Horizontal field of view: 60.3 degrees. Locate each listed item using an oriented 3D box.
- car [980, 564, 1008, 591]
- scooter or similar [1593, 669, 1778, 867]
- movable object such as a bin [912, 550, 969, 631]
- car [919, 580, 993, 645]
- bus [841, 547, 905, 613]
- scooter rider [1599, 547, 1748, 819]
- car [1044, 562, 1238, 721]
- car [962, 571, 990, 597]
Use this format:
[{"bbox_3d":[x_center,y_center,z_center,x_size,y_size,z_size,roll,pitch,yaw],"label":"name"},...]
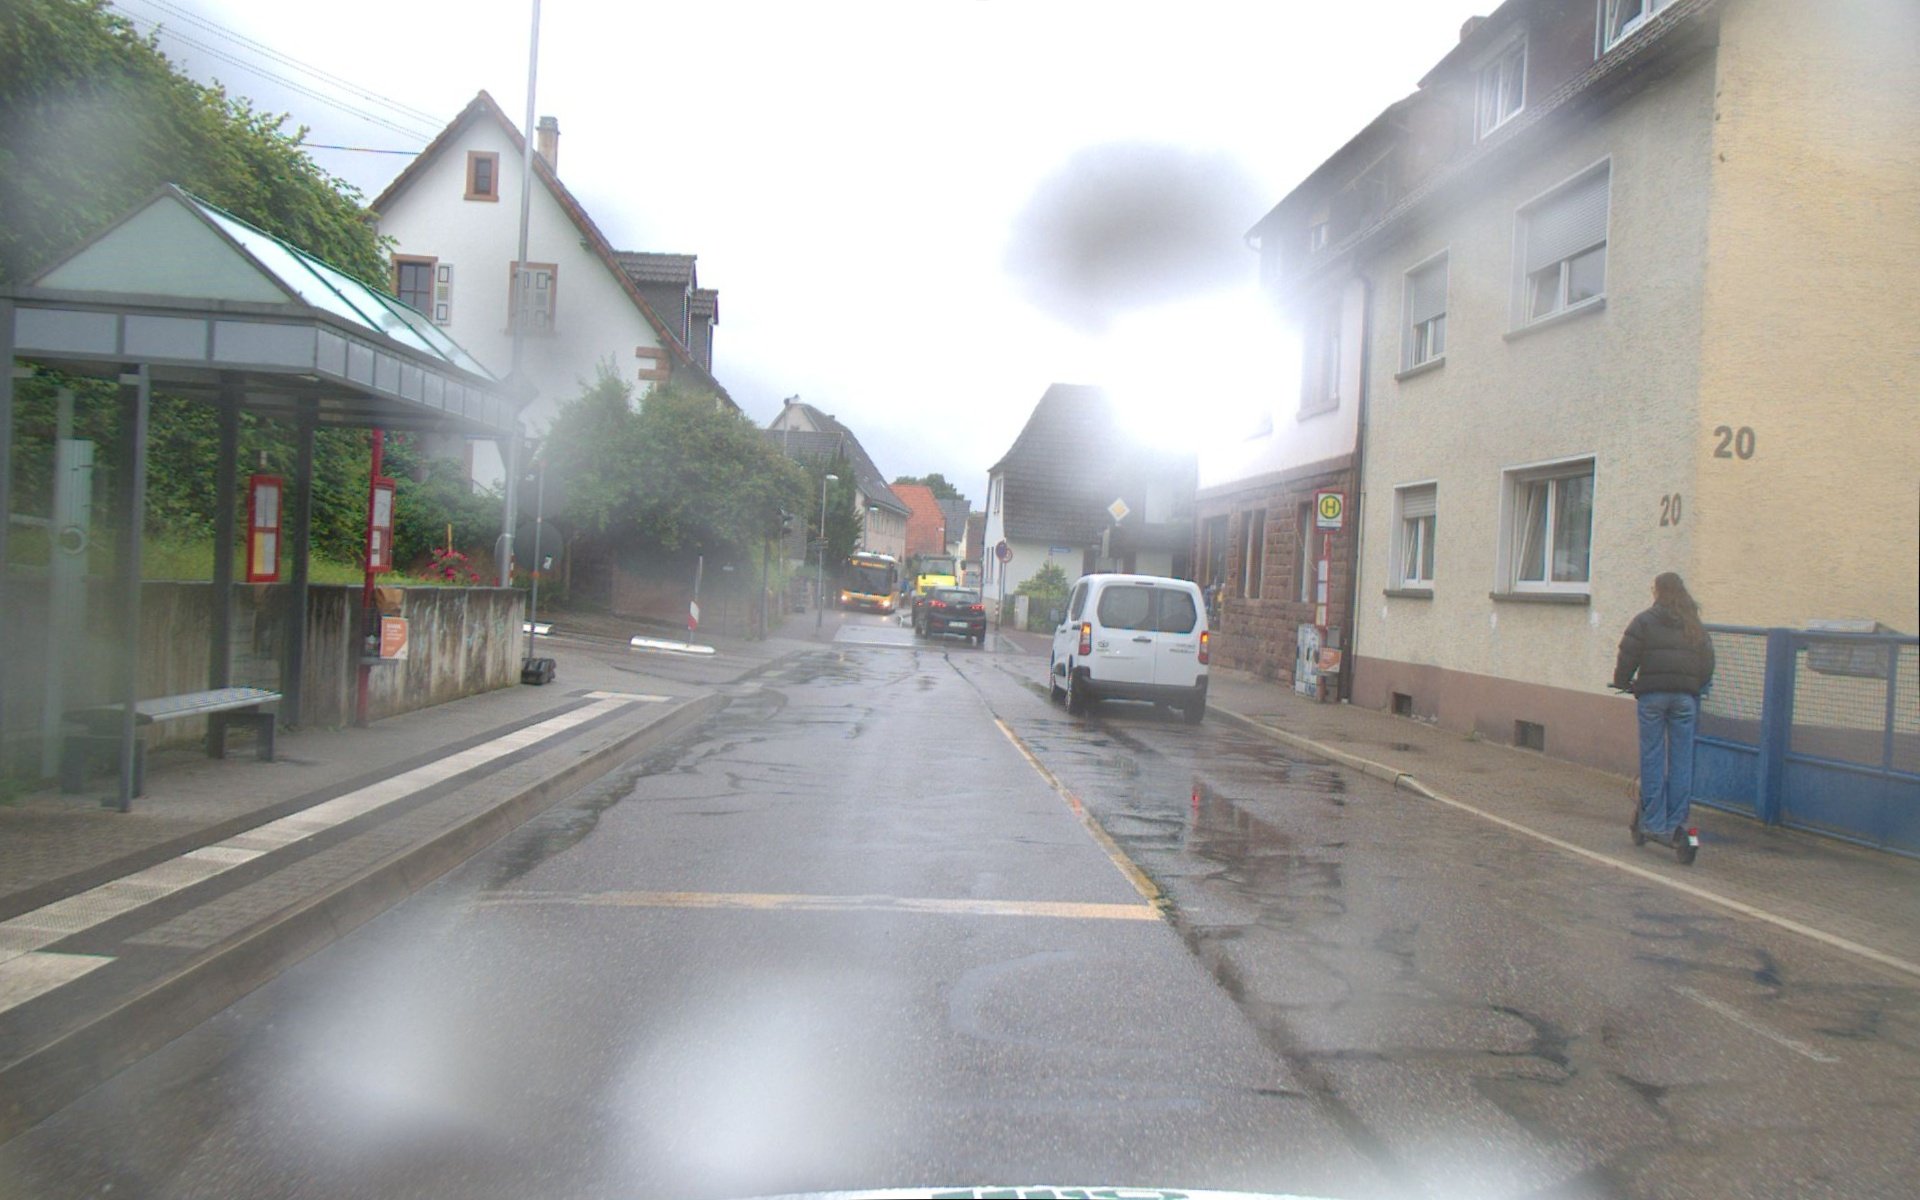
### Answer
[{"bbox_3d":[2.419,-1.556,116.379,1.812,1.825,4.002,1,0,3],"label":"car"},{"bbox_3d":[4.815,1.083,11.064,0.607,1.146,1.402,3,0,2],"label":"scooter or similar"},{"bbox_3d":[-0.738,-0.352,59.885,1.693,2.699,3.972,4,0,-3],"label":"movable object such as a bin"},{"bbox_3d":[-0.152,0.319,46.759,1.774,1.624,3.753,4,0,-3],"label":"car"},{"bbox_3d":[-4.543,-1.184,88.219,2.596,3.051,12.194,4,2,0],"label":"bus"},{"bbox_3d":[4.847,0.551,11.262,0.716,1.763,0.518,3,-1,2],"label":"scooter rider"},{"bbox_3d":[2.335,0.485,22.320,1.857,1.824,3.811,4,0,-4],"label":"car"},{"bbox_3d":[1.338,-1.326,137.454,1.951,2.049,4.003,1,0,6],"label":"car"}]
